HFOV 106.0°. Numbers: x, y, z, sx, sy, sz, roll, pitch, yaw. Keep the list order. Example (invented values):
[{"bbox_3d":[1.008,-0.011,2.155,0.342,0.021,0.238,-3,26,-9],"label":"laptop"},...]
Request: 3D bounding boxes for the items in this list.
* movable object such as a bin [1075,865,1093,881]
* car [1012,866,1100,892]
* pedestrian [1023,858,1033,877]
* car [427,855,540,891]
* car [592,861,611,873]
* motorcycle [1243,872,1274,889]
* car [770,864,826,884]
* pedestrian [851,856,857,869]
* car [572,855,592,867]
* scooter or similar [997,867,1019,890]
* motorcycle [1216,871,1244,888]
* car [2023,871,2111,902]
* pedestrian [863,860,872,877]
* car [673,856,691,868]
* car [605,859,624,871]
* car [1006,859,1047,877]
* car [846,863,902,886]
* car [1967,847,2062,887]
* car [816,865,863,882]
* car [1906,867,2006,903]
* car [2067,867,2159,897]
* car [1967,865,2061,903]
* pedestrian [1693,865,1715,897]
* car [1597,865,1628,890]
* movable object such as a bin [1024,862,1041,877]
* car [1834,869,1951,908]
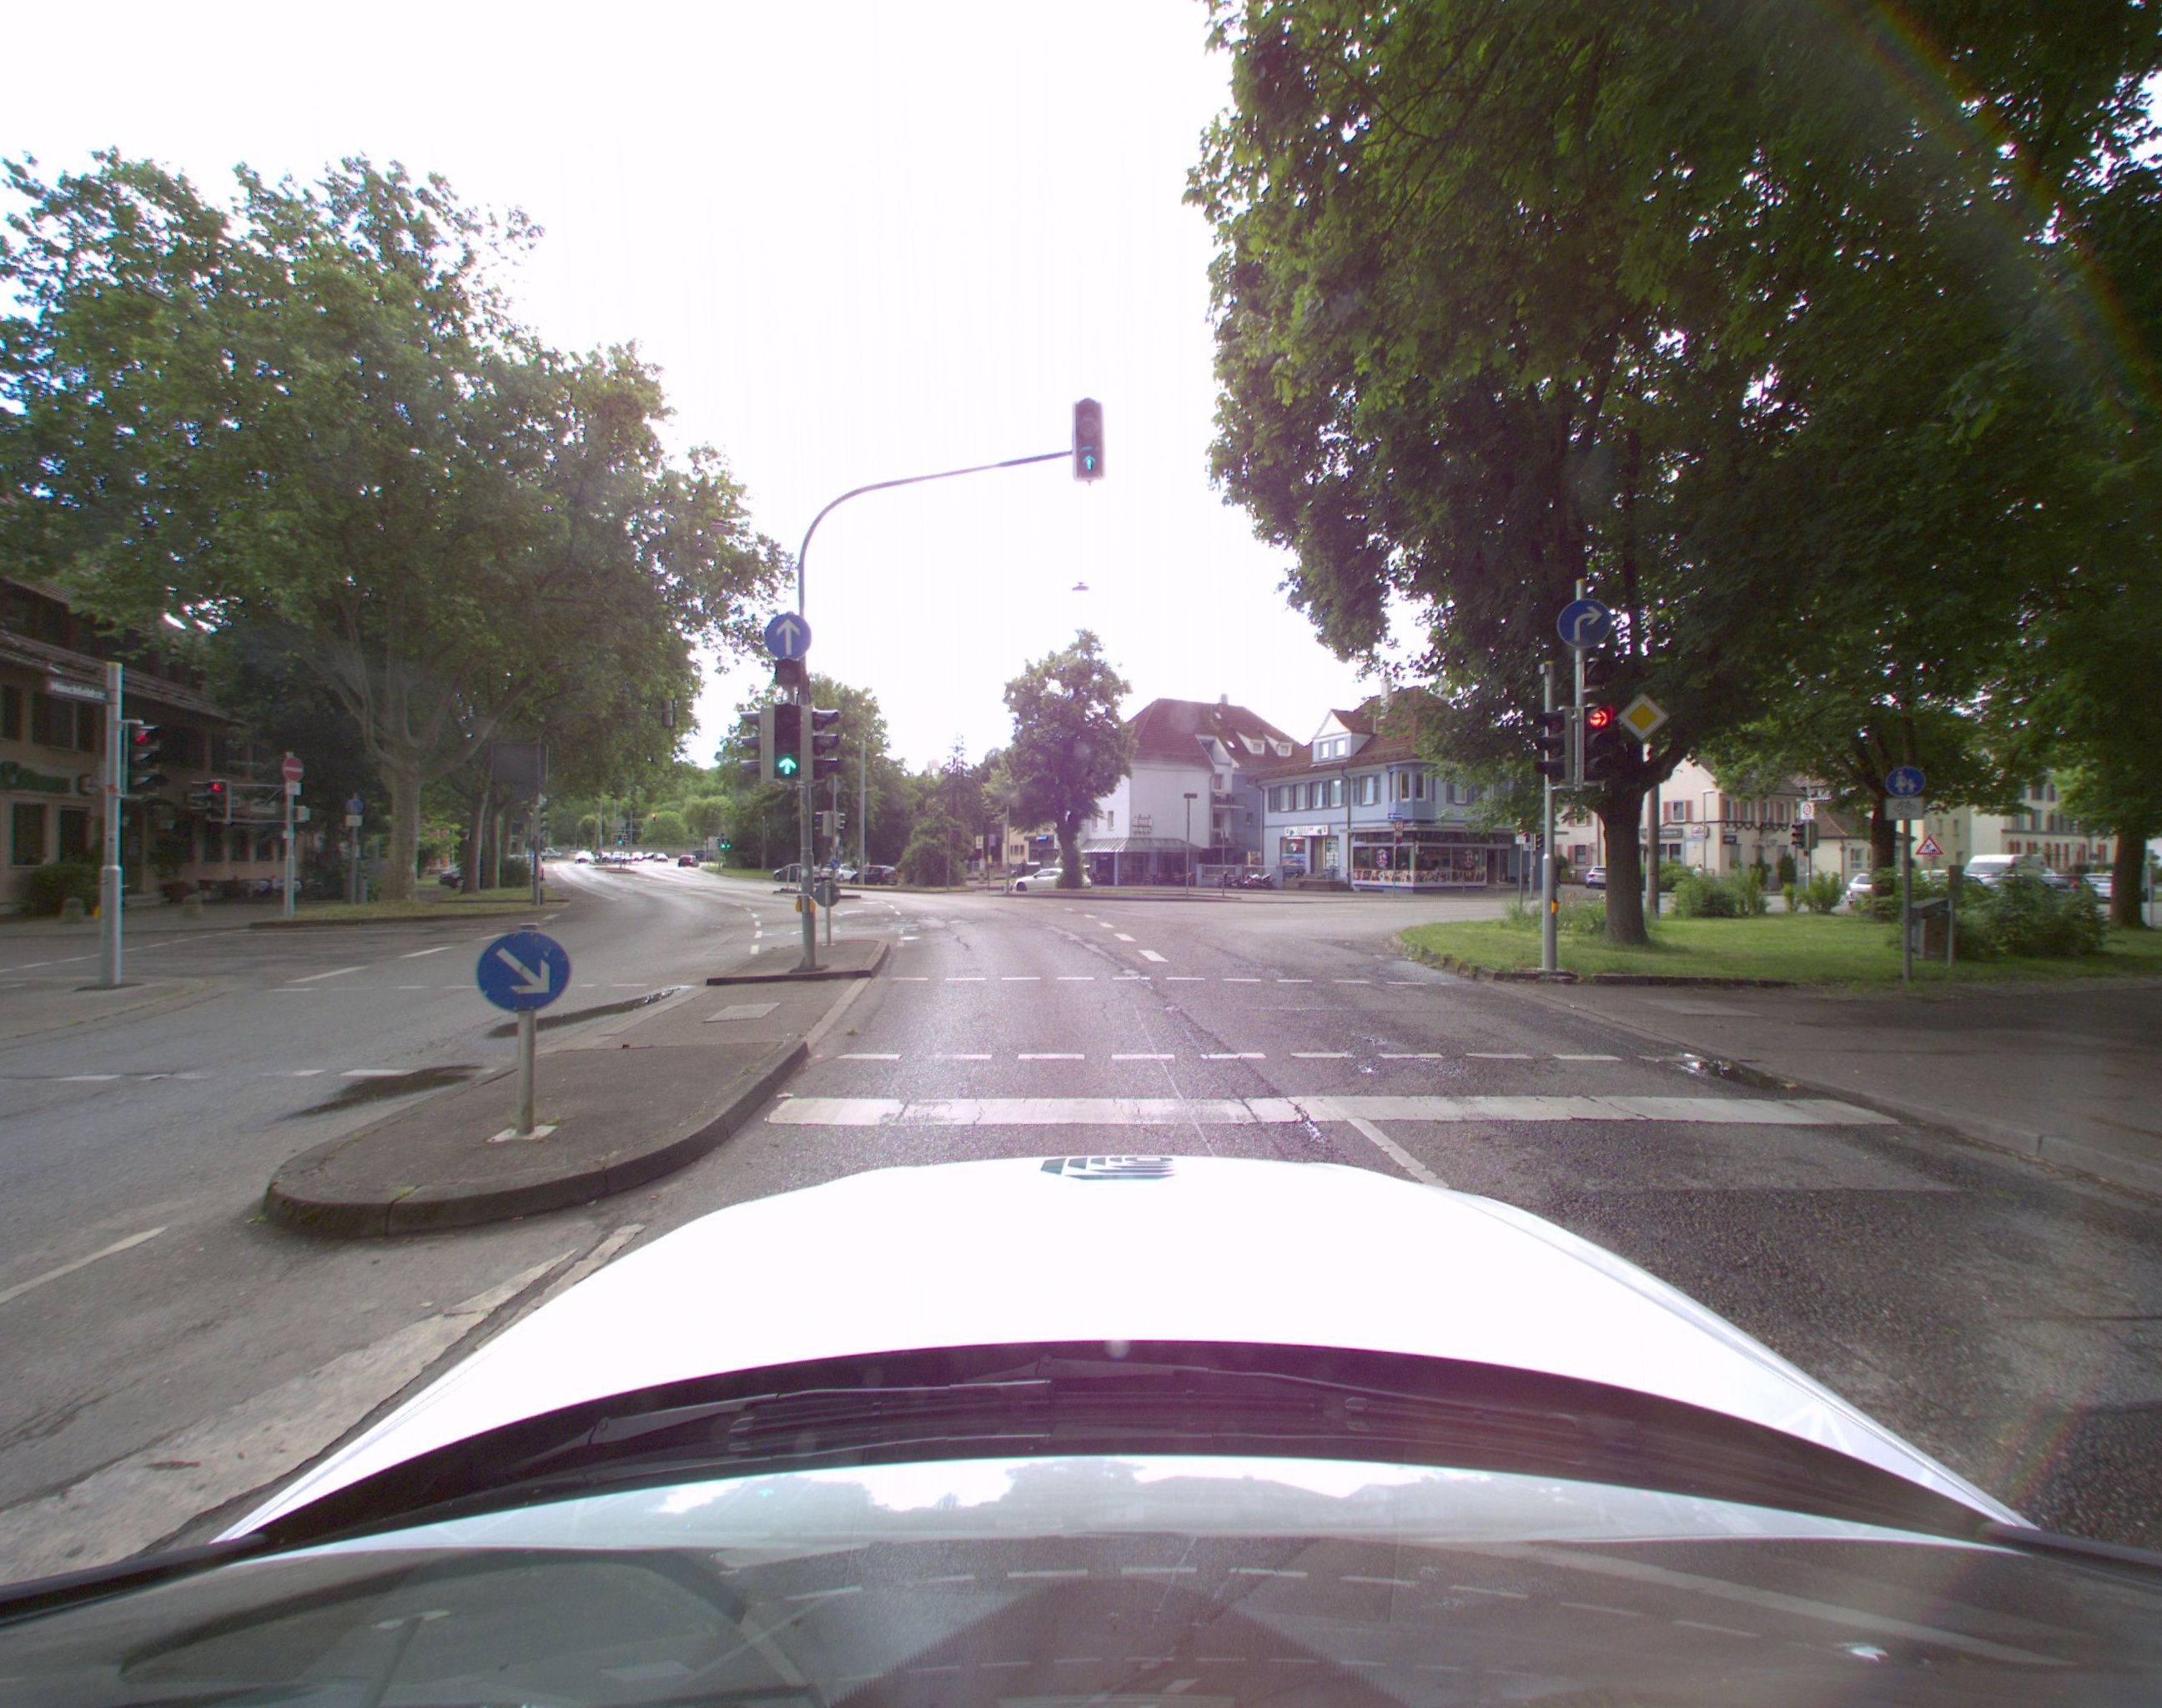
[{"bbox_3d":[0.233,1.636,70.545,1.218,1.395,1.153,0,-1,-20],"label":"movable object such as a bin"},{"bbox_3d":[-1.447,1.397,45.795,4.726,1.386,2.013,-1,-1,36],"label":"car"},{"bbox_3d":[-4.848,1.252,74.812,0.691,1.729,0.605,0,-1,-30],"label":"pedestrian"},{"bbox_3d":[-36.815,1.130,50.310,2.058,1.931,5.276,0,1,42],"label":"car"},{"bbox_3d":[-68.045,1.823,115.509,1.805,1.586,4.380,-2,2,-24],"label":"car"},{"bbox_3d":[10.506,1.552,48.138,1.800,0.985,0.525,-1,-1,45],"label":"motorcycle"},{"bbox_3d":[-22.546,1.539,64.918,4.063,1.429,1.743,2,0,24],"label":"car"},{"bbox_3d":[-26.000,0.963,93.282,0.512,1.531,0.773,1,-1,-20],"label":"pedestrian"},{"bbox_3d":[-61.368,0.860,100.224,1.772,1.466,3.986,-1,0,-27],"label":"car"},{"bbox_3d":[-3.834,1.277,42.859,0.407,1.167,1.370,0,-3,28],"label":"scooter or similar"},{"bbox_3d":[9.146,1.567,50.029,1.703,1.031,0.492,-1,-1,45],"label":"motorcycle"},{"bbox_3d":[46.917,1.516,38.763,3.746,1.390,1.725,0,-1,-24],"label":"car"},{"bbox_3d":[-20.355,1.399,77.699,0.687,1.551,0.736,1,0,-30],"label":"pedestrian"},{"bbox_3d":[-49.990,0.980,101.962,1.833,1.509,4.532,0,-1,-28],"label":"car"},{"bbox_3d":[-71.822,1.694,125.449,1.919,1.763,4.715,0,0,-24],"label":"car"},{"bbox_3d":[-5.091,1.328,76.006,3.428,1.630,1.612,0,-1,-23],"label":"car"},{"bbox_3d":[-13.775,1.353,54.145,3.450,1.404,1.583,1,0,30],"label":"car"},{"bbox_3d":[59.264,0.823,51.671,5.966,2.392,2.318,0,-1,-24],"label":"car"},{"bbox_3d":[-20.006,1.580,67.589,1.746,1.380,4.278,1,0,14],"label":"car"},{"bbox_3d":[38.091,1.316,35.444,3.964,1.456,1.787,0,-1,-25],"label":"car"},{"bbox_3d":[52.938,1.418,41.767,4.407,1.456,1.910,0,-1,-24],"label":"car"},{"bbox_3d":[42.308,1.319,36.911,4.008,1.572,1.857,0,-1,-27],"label":"car"},{"bbox_3d":[33.967,1.465,44.380,0.648,1.697,0.750,1,-1,-27],"label":"pedestrian"},{"bbox_3d":[32.712,1.427,50.188,1.551,1.462,3.461,0,-1,32],"label":"car"},{"bbox_3d":[-4.388,1.427,74.141,1.223,1.345,0.986,0,-1,-29],"label":"movable object such as a bin"},{"bbox_3d":[32.936,1.358,33.044,4.552,1.456,1.885,0,-1,-24],"label":"car"}]
